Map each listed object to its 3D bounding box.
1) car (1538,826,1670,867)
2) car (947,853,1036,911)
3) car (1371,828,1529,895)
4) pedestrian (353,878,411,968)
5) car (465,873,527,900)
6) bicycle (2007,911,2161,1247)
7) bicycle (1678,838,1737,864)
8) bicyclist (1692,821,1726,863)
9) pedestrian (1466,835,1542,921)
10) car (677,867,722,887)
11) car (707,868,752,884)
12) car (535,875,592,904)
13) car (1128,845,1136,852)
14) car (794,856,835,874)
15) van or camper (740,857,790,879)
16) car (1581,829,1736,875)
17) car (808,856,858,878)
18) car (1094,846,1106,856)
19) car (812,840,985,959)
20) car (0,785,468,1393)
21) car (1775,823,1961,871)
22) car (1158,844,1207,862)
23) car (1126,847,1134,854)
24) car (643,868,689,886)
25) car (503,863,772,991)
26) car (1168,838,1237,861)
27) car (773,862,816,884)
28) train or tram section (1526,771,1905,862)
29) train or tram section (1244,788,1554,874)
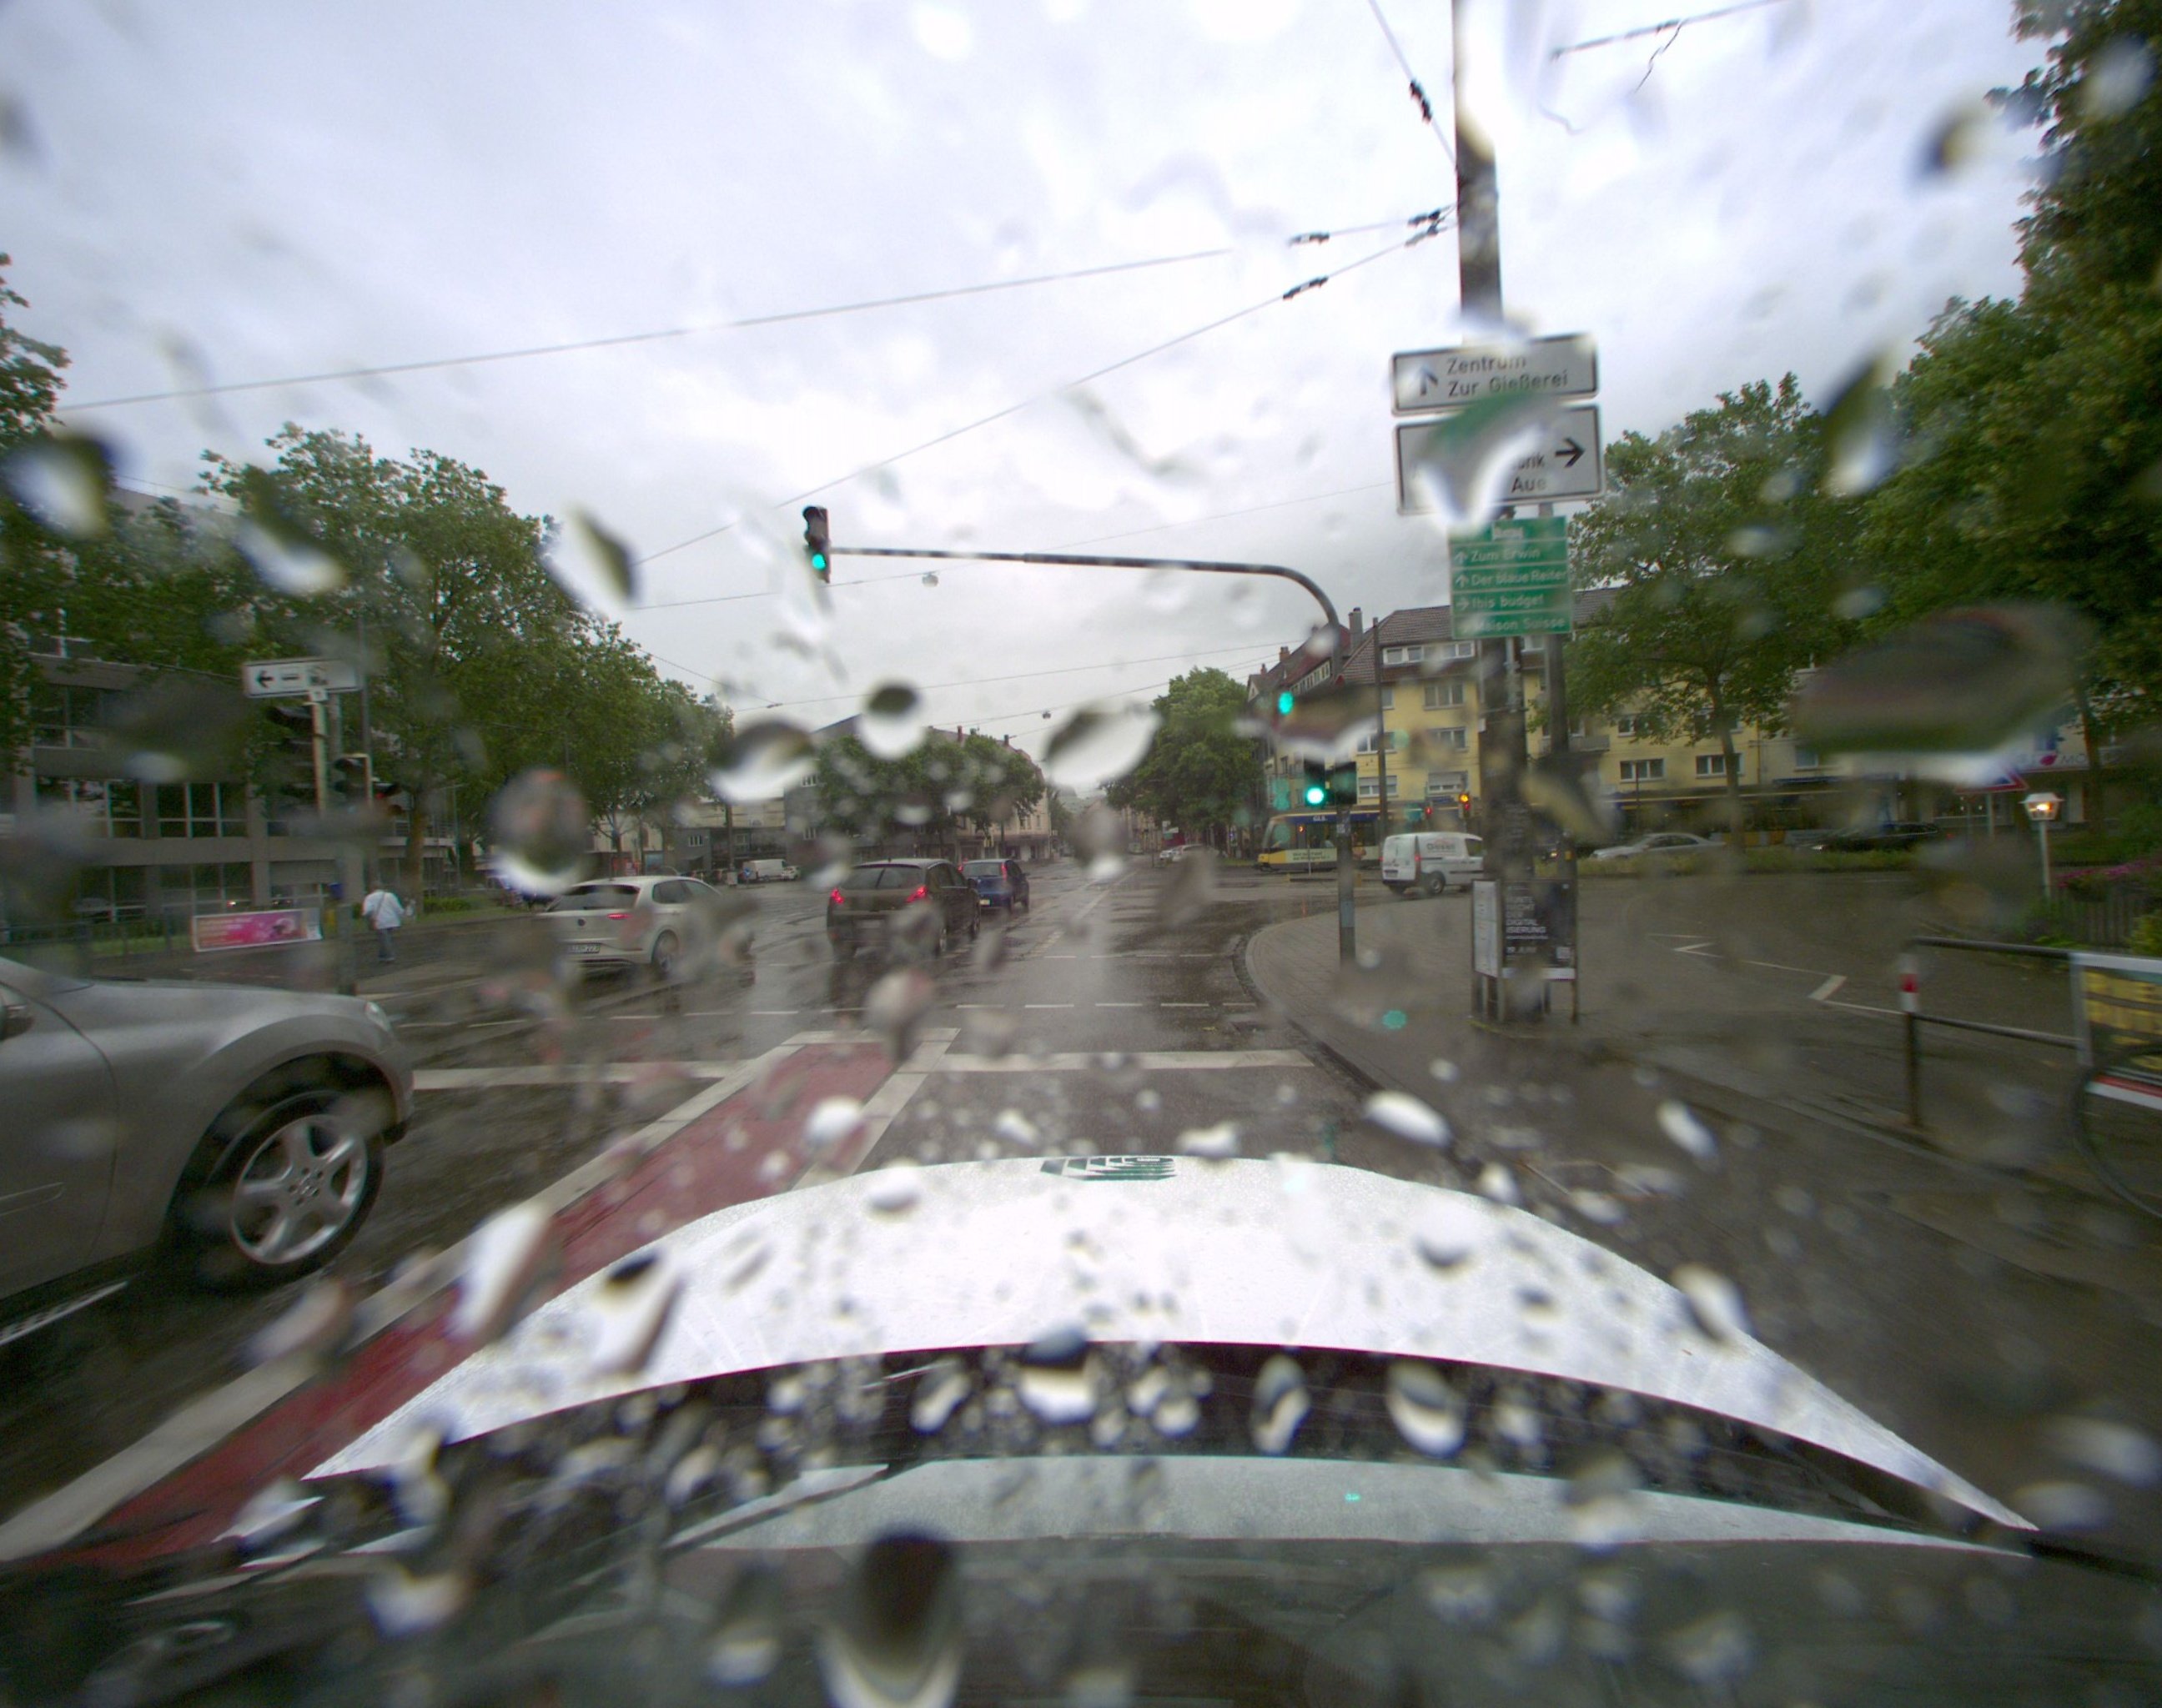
[{"bbox_3d":[21.947,-0.315,34.309,4.244,1.501,1.885,-3,1,9],"label":"car"},{"bbox_3d":[-2.417,0.795,22.908,1.875,1.459,3.833,-2,-2,2],"label":"car"},{"bbox_3d":[11.055,0.177,24.429,4.111,1.797,1.898,-2,1,-18],"label":"car"},{"bbox_3d":[-13.321,1.294,15.541,0.739,1.610,0.709,-3,1,-38],"label":"pedestrian"},{"bbox_3d":[-42.706,2.368,59.491,3.950,1.772,2.017,-2,0,27],"label":"car"},{"bbox_3d":[4.107,0.839,2.524,0.421,1.168,1.792,0,1,0],"label":"bicycle"},{"bbox_3d":[25.880,-0.143,33.660,1.798,1.031,0.722,-1,1,11],"label":"bicycle"},{"bbox_3d":[25.935,-0.502,33.643,0.881,1.716,0.717,-1,0,11],"label":"bicyclist"},{"bbox_3d":[8.666,0.458,16.684,1.003,1.666,1.092,-2,1,-43],"label":"pedestrian"},{"bbox_3d":[-40.982,2.466,87.580,1.974,2.014,4.025,-1,-1,31],"label":"car"},{"bbox_3d":[-37.003,2.329,85.769,1.975,1.614,4.023,-2,-2,26],"label":"car"},{"bbox_3d":[-36.066,2.470,56.715,3.948,1.771,1.815,-2,2,34],"label":"car"},{"bbox_3d":[9.496,-1.026,151.670,1.470,1.363,3.463,-1,-1,2],"label":"car"},{"bbox_3d":[-27.129,1.149,82.907,1.906,1.618,4.019,-2,1,18],"label":"car"},{"bbox_3d":[-32.323,1.398,83.436,1.975,2.075,4.681,-2,0,24],"label":"van or camper"},{"bbox_3d":[21.954,-0.083,31.134,4.453,1.489,1.747,-3,1,14],"label":"car"},{"bbox_3d":[-24.628,1.287,80.966,2.041,2.013,4.426,-1,1,31],"label":"car"},{"bbox_3d":[3.422,-0.479,145.094,1.987,1.688,3.999,-1,-1,0],"label":"car"},{"bbox_3d":[-2.945,0.637,14.124,1.794,1.709,4.194,-1,1,3],"label":"car"},{"bbox_3d":[-3.905,0.671,1.502,1.901,1.646,4.681,-2,1,1],"label":"car"},{"bbox_3d":[28.853,-0.272,30.023,4.591,1.485,1.870,-3,1,14],"label":"car"},{"bbox_3d":[10.572,-0.108,84.587,4.539,1.556,2.012,-3,1,23],"label":"car"},{"bbox_3d":[9.552,-0.657,158.010,1.470,1.363,3.463,-1,-1,2],"label":"car"},{"bbox_3d":[-46.469,2.539,91.237,1.974,1.763,4.026,-3,1,31],"label":"car"},{"bbox_3d":[-6.719,0.994,12.977,1.800,1.536,4.193,-3,1,2],"label":"car"},{"bbox_3d":[9.627,-0.382,64.649,4.969,1.474,1.995,-3,1,-8],"label":"car"},{"bbox_3d":[-29.278,1.874,83.303,1.978,2.013,4.019,-2,1,18],"label":"car"},{"bbox_3d":[30.126,-1.692,39.617,14.524,3.558,3.128,-2,1,13],"label":"train or tram section"},{"bbox_3d":[15.867,-1.156,41.464,14.476,3.558,3.117,-3,1,1],"label":"train or tram section"}]
